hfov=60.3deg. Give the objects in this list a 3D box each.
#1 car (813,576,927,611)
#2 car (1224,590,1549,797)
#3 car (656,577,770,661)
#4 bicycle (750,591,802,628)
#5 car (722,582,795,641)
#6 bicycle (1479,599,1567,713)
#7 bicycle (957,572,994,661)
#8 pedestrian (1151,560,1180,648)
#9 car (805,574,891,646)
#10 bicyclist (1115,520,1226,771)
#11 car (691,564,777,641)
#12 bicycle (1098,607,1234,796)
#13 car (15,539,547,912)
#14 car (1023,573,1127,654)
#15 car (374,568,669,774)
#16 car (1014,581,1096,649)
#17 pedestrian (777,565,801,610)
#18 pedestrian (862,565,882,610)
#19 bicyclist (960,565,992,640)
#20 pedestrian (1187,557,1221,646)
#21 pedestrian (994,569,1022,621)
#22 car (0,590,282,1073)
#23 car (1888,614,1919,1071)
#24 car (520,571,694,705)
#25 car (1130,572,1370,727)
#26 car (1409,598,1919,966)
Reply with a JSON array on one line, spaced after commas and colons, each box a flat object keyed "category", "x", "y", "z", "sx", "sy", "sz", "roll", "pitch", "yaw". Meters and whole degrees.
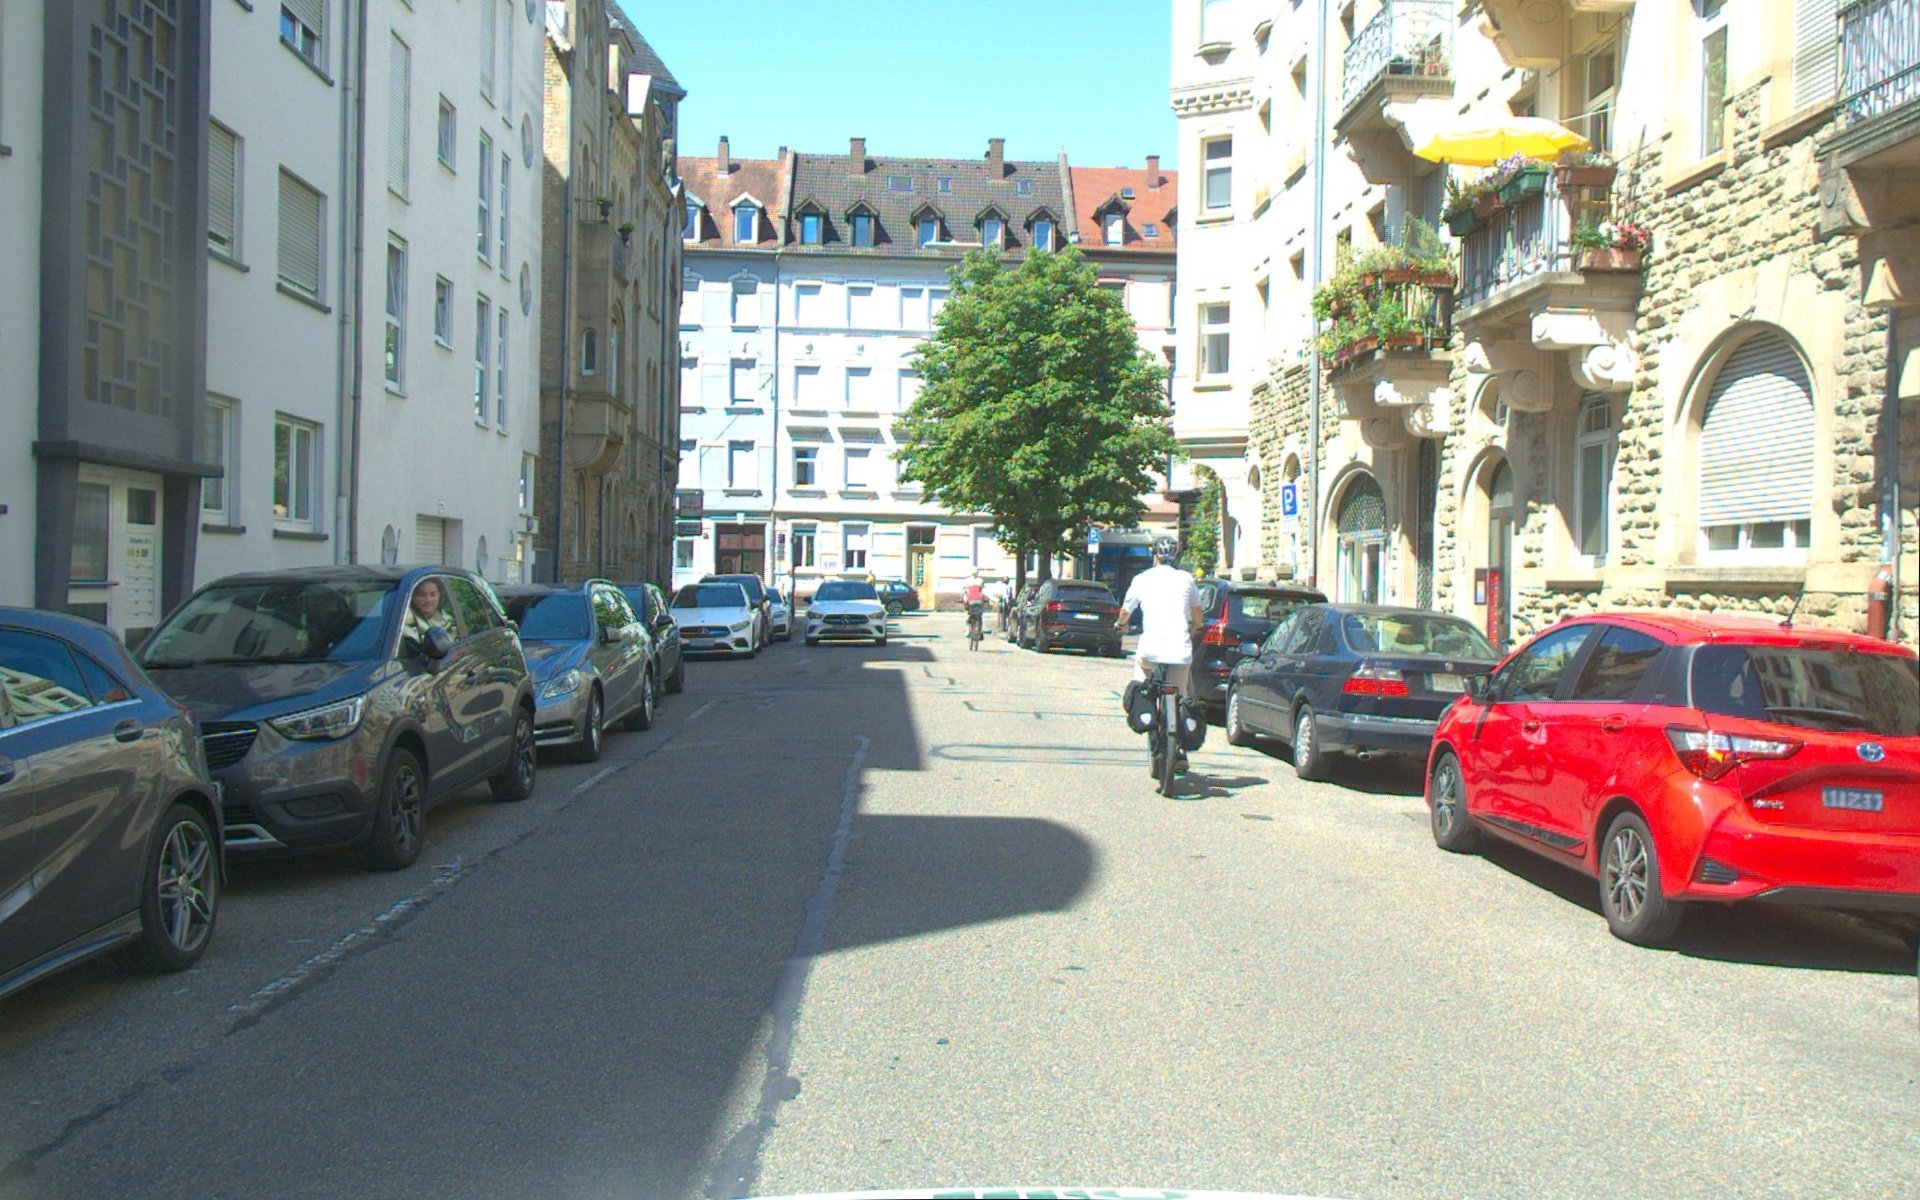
[{"category": "car", "x": -3.815, "y": -0.285, "z": 70.455, "sx": 4.762, "sy": 1.462, "sz": 1.999, "roll": 0, "pitch": 0, "yaw": -3}, {"category": "car", "x": 3.540, "y": 0.701, "z": 14.460, "sx": 1.483, "sy": 1.423, "sz": 3.969, "roll": 5, "pitch": 0, "yaw": -4}, {"category": "car", "x": -4.764, "y": 0.329, "z": 32.425, "sx": 1.741, "sy": 1.485, "sz": 4.277, "roll": -1, "pitch": 1, "yaw": -3}, {"category": "bicycle", "x": -5.491, "y": 0.273, "z": 49.293, "sx": 1.496, "sy": 1.025, "sz": 0.366, "roll": 3, "pitch": 0, "yaw": -7}, {"category": "car", "x": -5.129, "y": 0.261, "z": 42.602, "sx": 1.668, "sy": 1.376, "sz": 4.511, "roll": -2, "pitch": 1, "yaw": -5}, {"category": "bicycle", "x": 6.401, "y": 0.606, "z": 18.888, "sx": 0.376, "sy": 1.229, "sz": 1.775, "roll": 0, "pitch": 0, "yaw": -1}, {"category": "bicycle", "x": 0.312, "y": 0.322, "z": 34.751, "sx": 0.638, "sy": 1.774, "sz": 2.441, "roll": 2, "pitch": 0, "yaw": -1}, {"category": "pedestrian", "x": 4.507, "y": 0.079, "z": 36.284, "sx": 0.508, "sy": 1.901, "sz": 0.653, "roll": 1, "pitch": 0, "yaw": -2}, {"category": "car", "x": -2.516, "y": 0.193, "z": 37.761, "sx": 1.804, "sy": 1.486, "sz": 4.360, "roll": -1, "pitch": 1, "yaw": -3}, {"category": "bicyclist", "x": 1.554, "y": 0.325, "z": 12.286, "sx": 0.657, "sy": 1.790, "sz": 0.609, "roll": 2, "pitch": 0, "yaw": -2}, {"category": "car", "x": -5.070, "y": 0.031, "z": 37.583, "sx": 1.639, "sy": 1.610, "sz": 4.049, "roll": -1, "pitch": 1, "yaw": -4}, {"category": "bicycle", "x": 1.533, "y": 0.712, "z": 12.697, "sx": 0.638, "sy": 1.250, "sz": 2.441, "roll": 2, "pitch": 0, "yaw": -2}, {"category": "car", "x": -3.620, "y": 0.556, "z": 9.617, "sx": 1.571, "sy": 1.673, "sz": 3.975, "roll": -1, "pitch": 1, "yaw": -3}, {"category": "car", "x": 2.532, "y": 0.261, "z": 37.370, "sx": 1.702, "sy": 1.624, "sz": 4.344, "roll": 3, "pitch": 0, "yaw": -4}, {"category": "car", "x": -3.813, "y": 0.527, "z": 15.173, "sx": 1.623, "sy": 1.545, "sz": 4.669, "roll": -1, "pitch": 1, "yaw": -3}, {"category": "car", "x": 2.380, "y": 0.338, "z": 42.281, "sx": 1.630, "sy": 1.567, "sz": 4.176, "roll": 3, "pitch": 0, "yaw": -2}, {"category": "pedestrian", "x": -7.221, "y": -0.530, "z": 69.877, "sx": 0.832, "sy": 1.922, "sz": 0.936, "roll": 0, "pitch": 0, "yaw": 8}, {"category": "pedestrian", "x": -3.672, "y": -0.531, "z": 69.112, "sx": 0.712, "sy": 1.886, "sz": 0.683, "roll": 0, "pitch": 0, "yaw": -12}, {"category": "bicyclist", "x": 0.332, "y": 0.049, "z": 34.732, "sx": 0.657, "sy": 1.560, "sz": 0.609, "roll": 0, "pitch": 0, "yaw": -2}, {"category": "pedestrian", "x": 5.360, "y": 0.033, "z": 36.340, "sx": 0.587, "sy": 1.912, "sz": 0.883, "roll": 1, "pitch": 0, "yaw": 0}, {"category": "pedestrian", "x": 1.573, "y": -0.176, "z": 54.346, "sx": 0.840, "sy": 1.701, "sz": 0.774, "roll": 0, "pitch": 0, "yaw": -2}, {"category": "car", "x": -3.716, "y": 0.708, "z": 4.941, "sx": 1.730, "sy": 1.417, "sz": 4.346, "roll": -1, "pitch": 1, "yaw": -3}, {"category": "car", "x": 3.915, "y": 0.843, "z": 3.615, "sx": 1.557, "sy": 1.477, "sz": 3.856, "roll": 3, "pitch": 0, "yaw": 0}, {"category": "car", "x": -4.417, "y": 0.425, "z": 21.201, "sx": 1.536, "sy": 1.517, "sz": 3.892, "roll": -1, "pitch": 1, "yaw": -3}, {"category": "car", "x": 3.377, "y": 0.510, "z": 20.167, "sx": 1.797, "sy": 1.594, "sz": 4.602, "roll": 3, "pitch": 1, "yaw": -4}, {"category": "car", "x": 3.801, "y": 0.783, "z": 8.922, "sx": 1.539, "sy": 1.477, "sz": 3.841, "roll": 3, "pitch": 0, "yaw": -2}]
